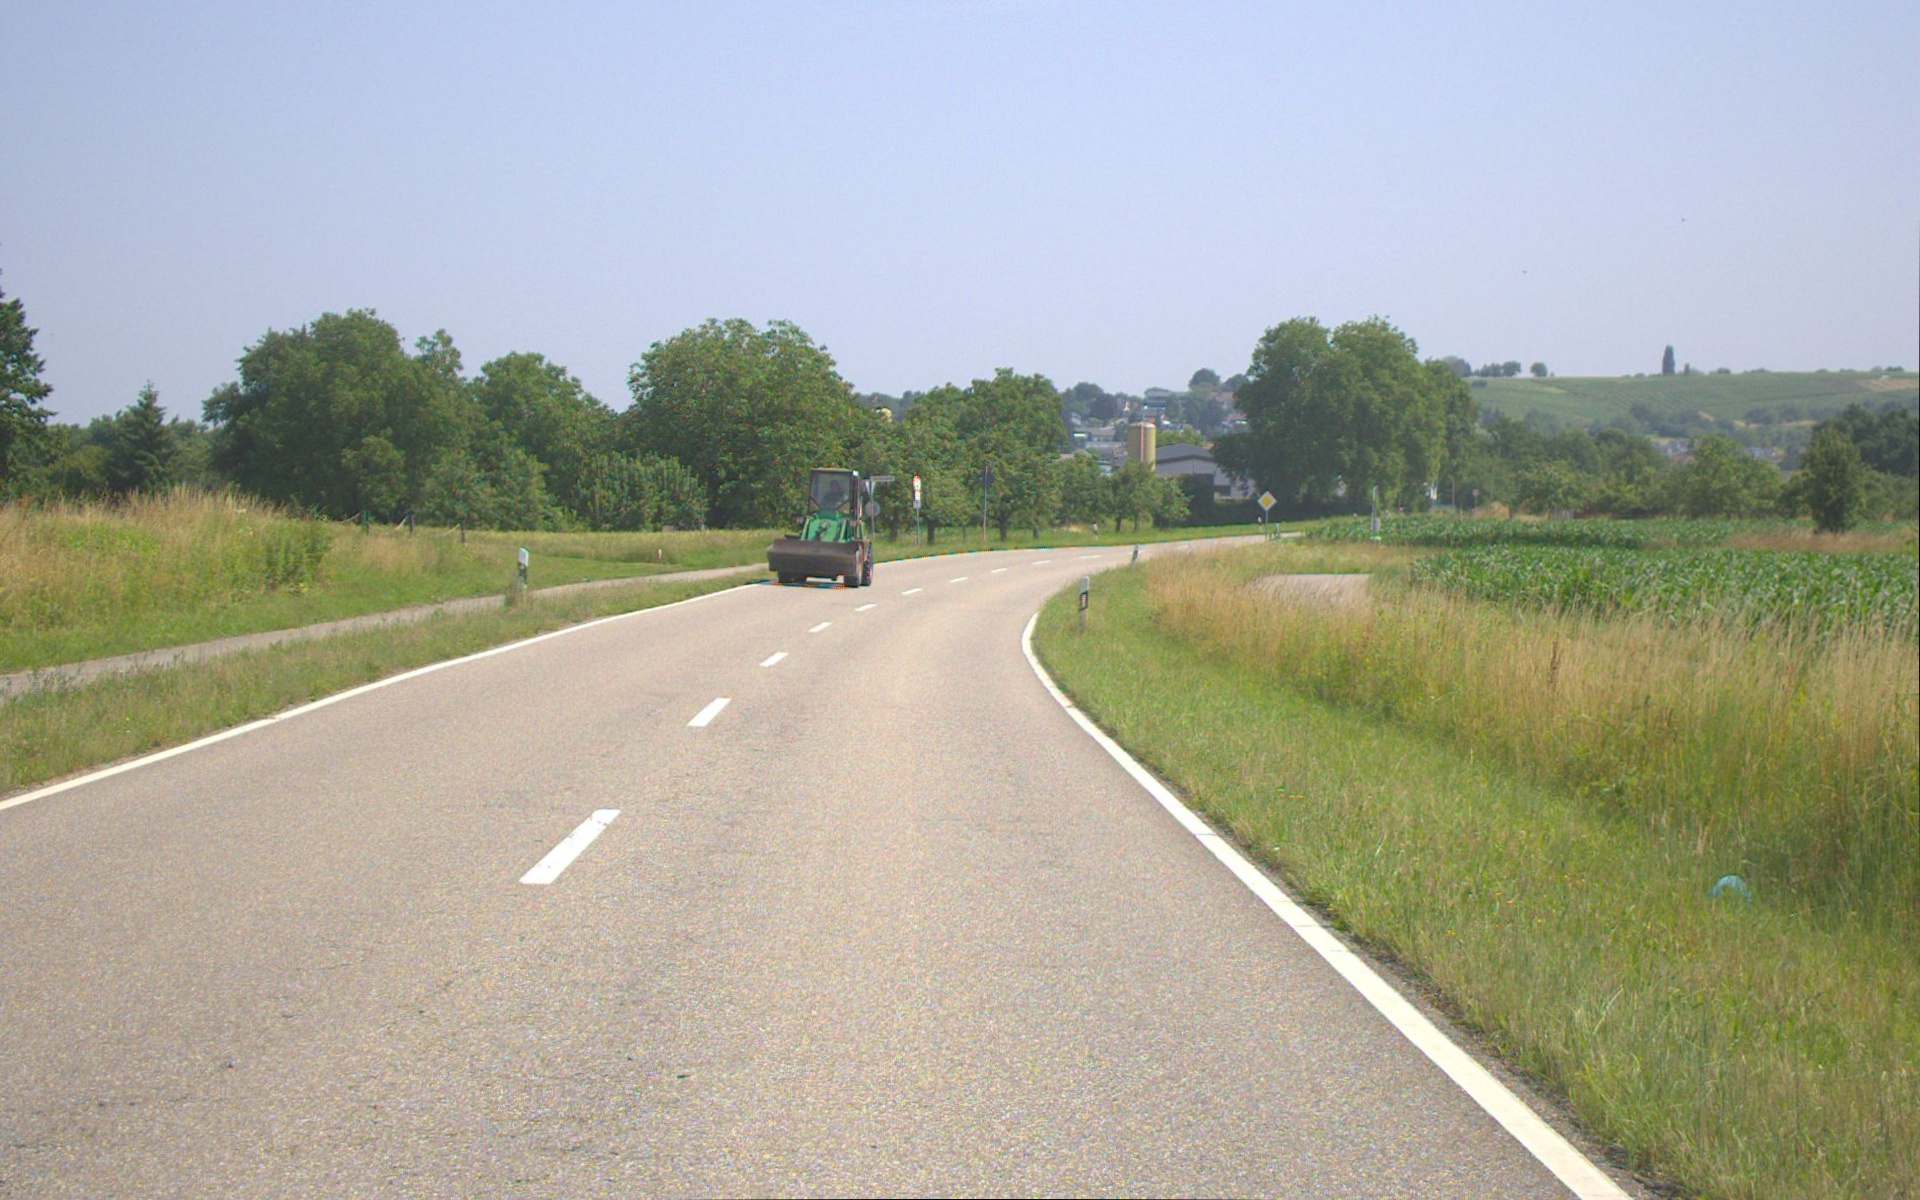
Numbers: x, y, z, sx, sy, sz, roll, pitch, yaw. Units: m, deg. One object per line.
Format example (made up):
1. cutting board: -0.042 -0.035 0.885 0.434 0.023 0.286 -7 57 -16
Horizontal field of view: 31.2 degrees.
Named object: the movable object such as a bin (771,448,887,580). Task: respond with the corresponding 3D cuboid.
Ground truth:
1. movable object such as a bin: -2.898 -1.932 77.061 2.001 2.745 5.230 3 2 3
